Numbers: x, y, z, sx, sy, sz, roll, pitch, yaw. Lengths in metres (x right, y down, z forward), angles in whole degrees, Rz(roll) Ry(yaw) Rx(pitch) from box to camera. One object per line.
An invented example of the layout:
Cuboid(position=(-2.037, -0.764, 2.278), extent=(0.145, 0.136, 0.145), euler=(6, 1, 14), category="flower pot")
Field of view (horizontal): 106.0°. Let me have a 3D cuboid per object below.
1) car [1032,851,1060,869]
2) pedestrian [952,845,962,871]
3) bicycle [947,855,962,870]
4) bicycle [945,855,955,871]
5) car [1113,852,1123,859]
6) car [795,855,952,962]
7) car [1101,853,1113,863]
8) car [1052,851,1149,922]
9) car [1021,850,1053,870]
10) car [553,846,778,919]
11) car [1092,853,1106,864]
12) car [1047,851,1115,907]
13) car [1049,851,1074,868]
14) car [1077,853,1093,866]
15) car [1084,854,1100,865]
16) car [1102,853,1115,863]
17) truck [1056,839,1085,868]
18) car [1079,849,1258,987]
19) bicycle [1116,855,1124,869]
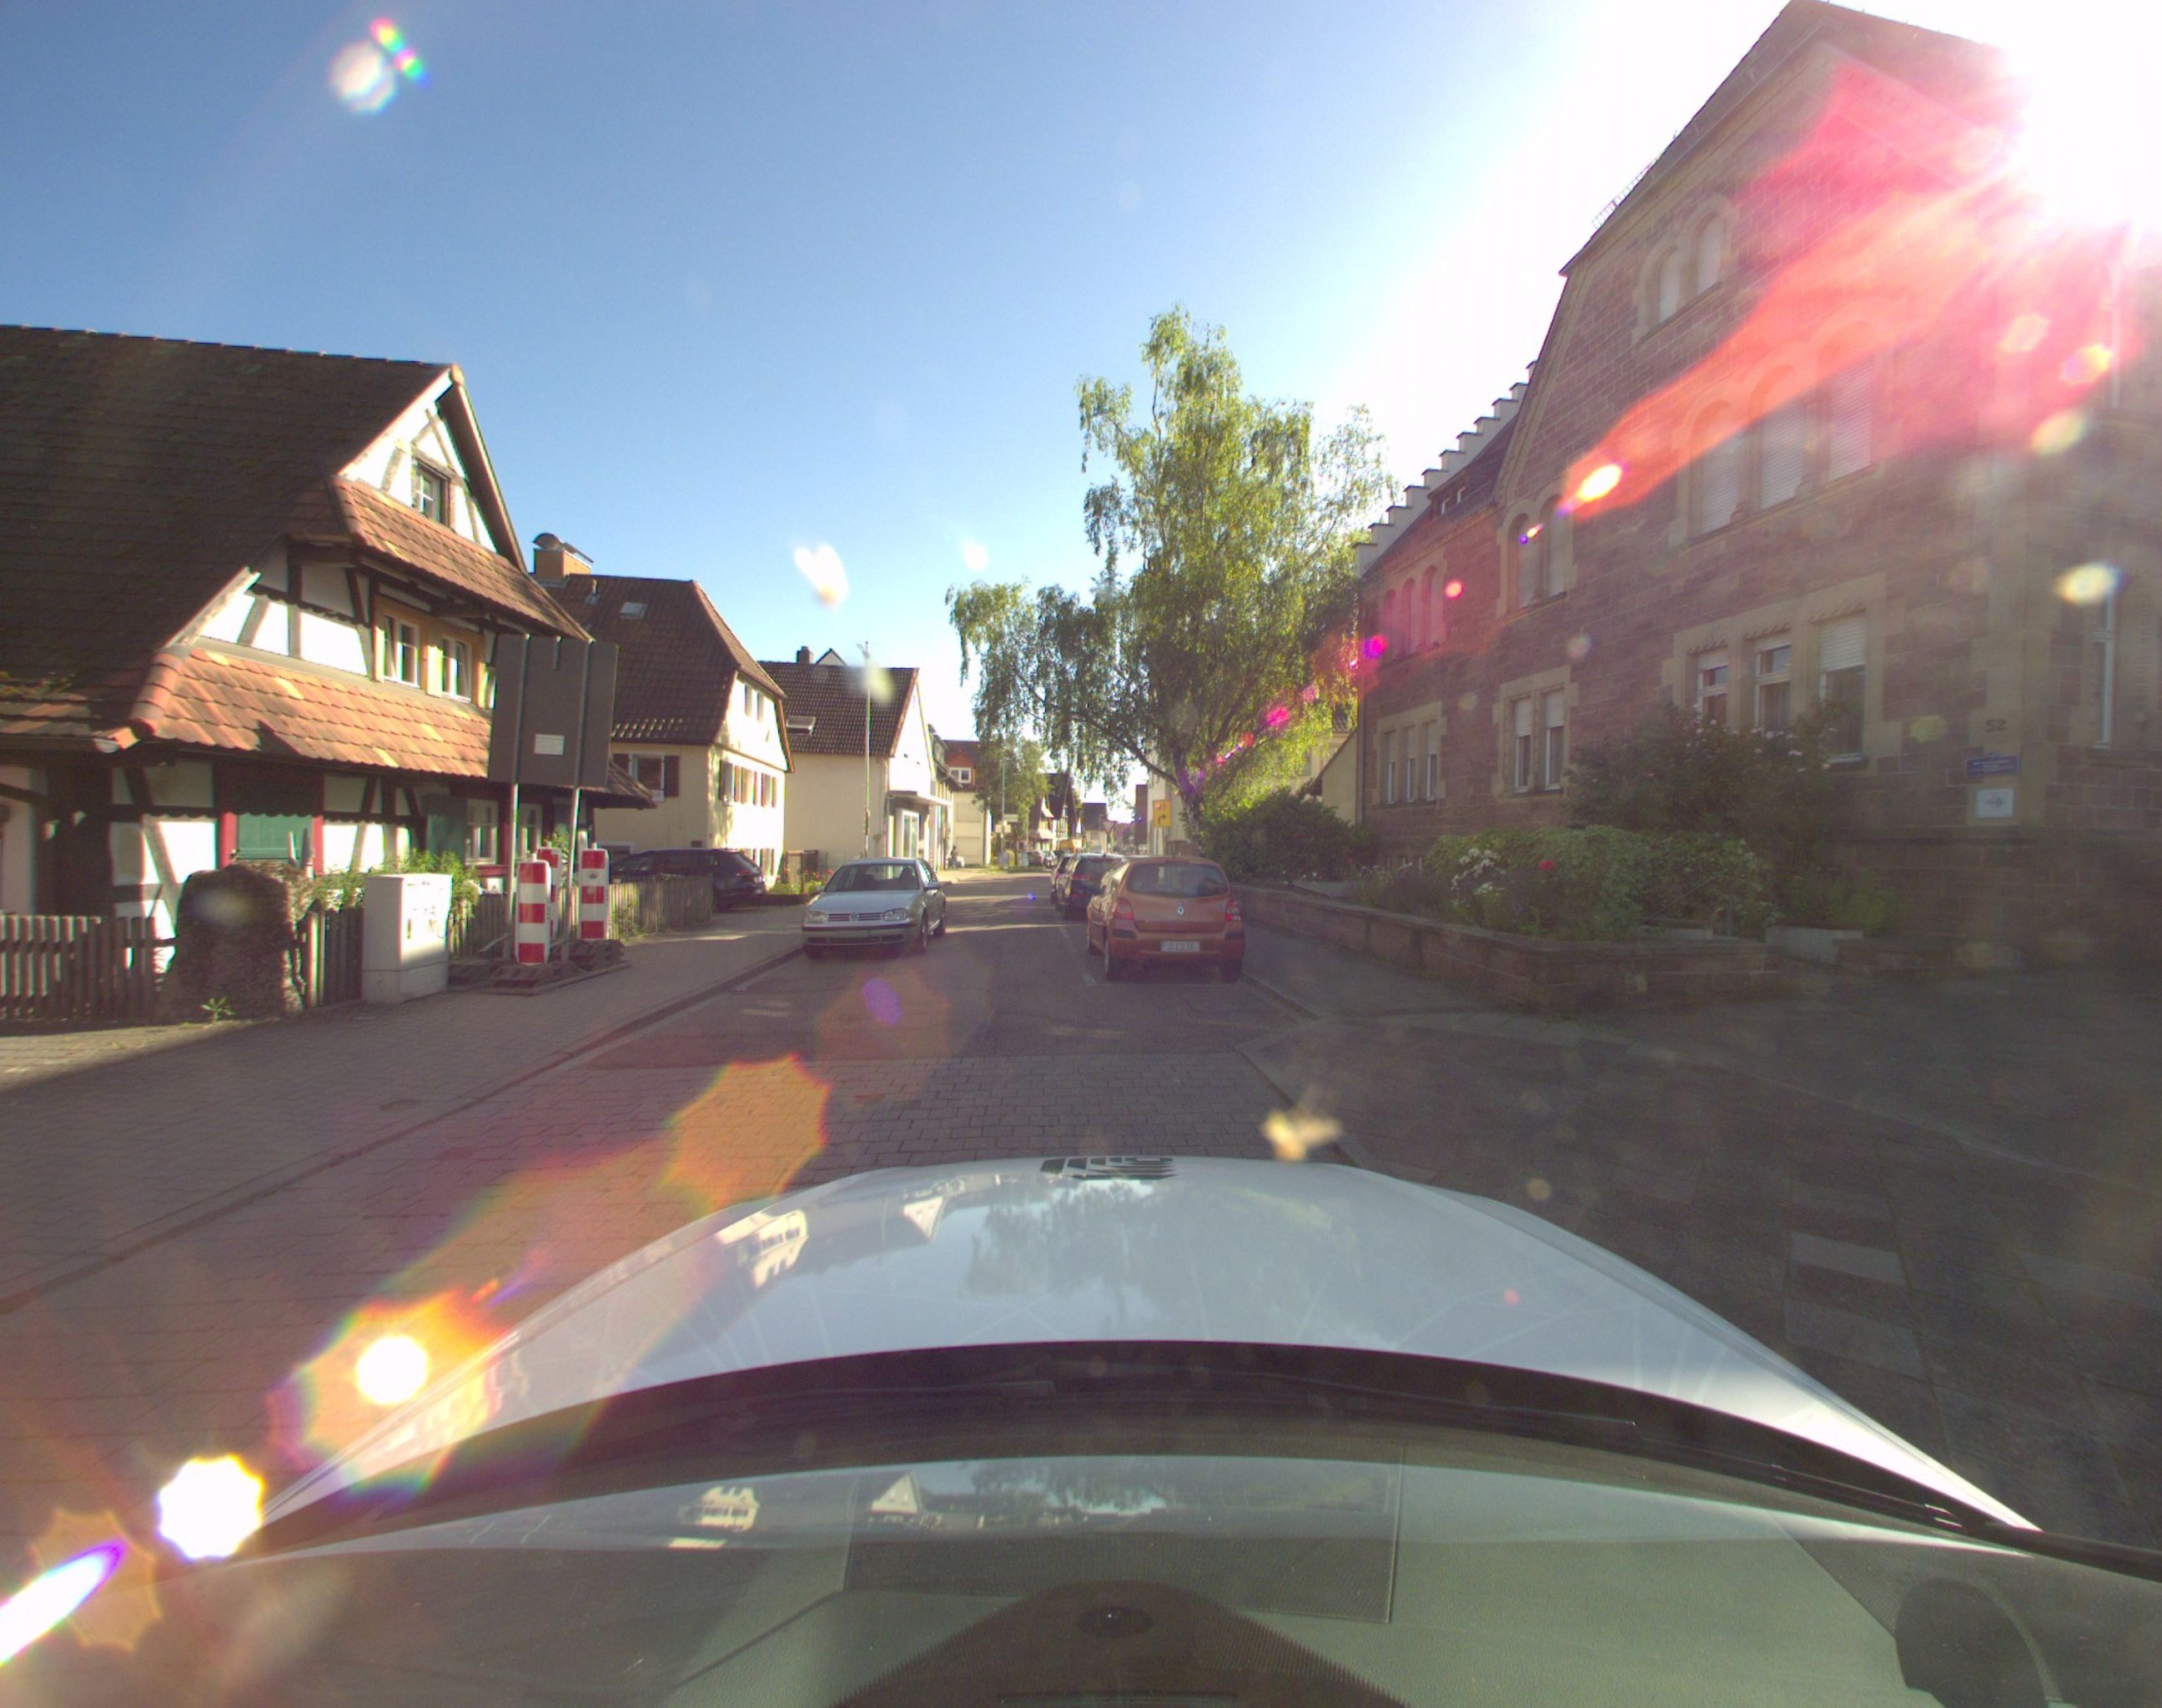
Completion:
Cuboid(position=(-3.029, 0.506, 71.460), extent=(1.797, 1.506, 4.116), euler=(1, 0, 7), category="car")
Cuboid(position=(-8.402, 0.268, 55.121), extent=(0.481, 1.693, 0.557), euler=(1, -2, 2), category="pedestrian")
Cuboid(position=(-9.052, 0.633, 58.349), extent=(0.575, 1.052, 2.039), euler=(0, -1, 6), category="bicycle")
Cuboid(position=(-8.822, 0.610, 54.942), extent=(0.422, 1.052, 1.380), euler=(1, -1, -1), category="bicycle")
Cuboid(position=(9.065, 0.417, 200.631), extent=(1.971, 1.583, 3.985), euler=(1, 0, -7), category="car")
Cuboid(position=(-3.117, 0.736, 12.987), extent=(1.667, 1.402, 3.888), euler=(0, 0, -3), category="car")
Cuboid(position=(3.690, 0.564, 115.186), extent=(1.581, 1.443, 3.619), euler=(1, 0, 4), category="car")
Cuboid(position=(0.345, 0.684, 19.380), extent=(1.804, 1.436, 4.278), euler=(1, 1, -5), category="car")
Cuboid(position=(-3.579, 0.498, 67.093), extent=(1.857, 1.506, 4.116), euler=(1, 0, 7), category="car")
Cuboid(position=(-9.352, 0.596, 18.669), extent=(4.156, 1.462, 1.843), euler=(-2, 1, -8), category="car")
Cuboid(position=(2.393, 0.589, 107.983), extent=(1.581, 1.443, 3.619), euler=(1, 0, 4), category="car")
Cuboid(position=(-0.035, 0.662, 24.090), extent=(1.802, 1.436, 4.284), euler=(1, 1, -1), category="car")
Cuboid(position=(-1.891, 0.513, 80.341), extent=(1.797, 1.622, 3.888), euler=(1, 0, 7), category="car")
Cuboid(position=(0.467, 0.619, 94.805), extent=(1.638, 1.432, 3.619), euler=(1, 0, 4), category="car")
Cuboid(position=(1.356, 0.654, 99.385), extent=(1.581, 1.336, 3.619), euler=(1, 0, 4), category="car")
Cuboid(position=(4.056, 0.560, 119.829), extent=(1.581, 1.443, 3.619), euler=(1, 0, 4), category="car")
Cuboid(position=(-1.078, -0.046, 85.919), extent=(2.256, 2.868, 5.794), euler=(1, 0, 7), category="truck")
Cuboid(position=(0.972, 0.698, 10.957), extent=(1.645, 1.478, 3.927), euler=(1, 1, -5), category="car")
Cuboid(position=(3.283, 0.649, 68.381), extent=(0.430, 1.176, 1.835), euler=(1, 0, 12), category="bicycle")
